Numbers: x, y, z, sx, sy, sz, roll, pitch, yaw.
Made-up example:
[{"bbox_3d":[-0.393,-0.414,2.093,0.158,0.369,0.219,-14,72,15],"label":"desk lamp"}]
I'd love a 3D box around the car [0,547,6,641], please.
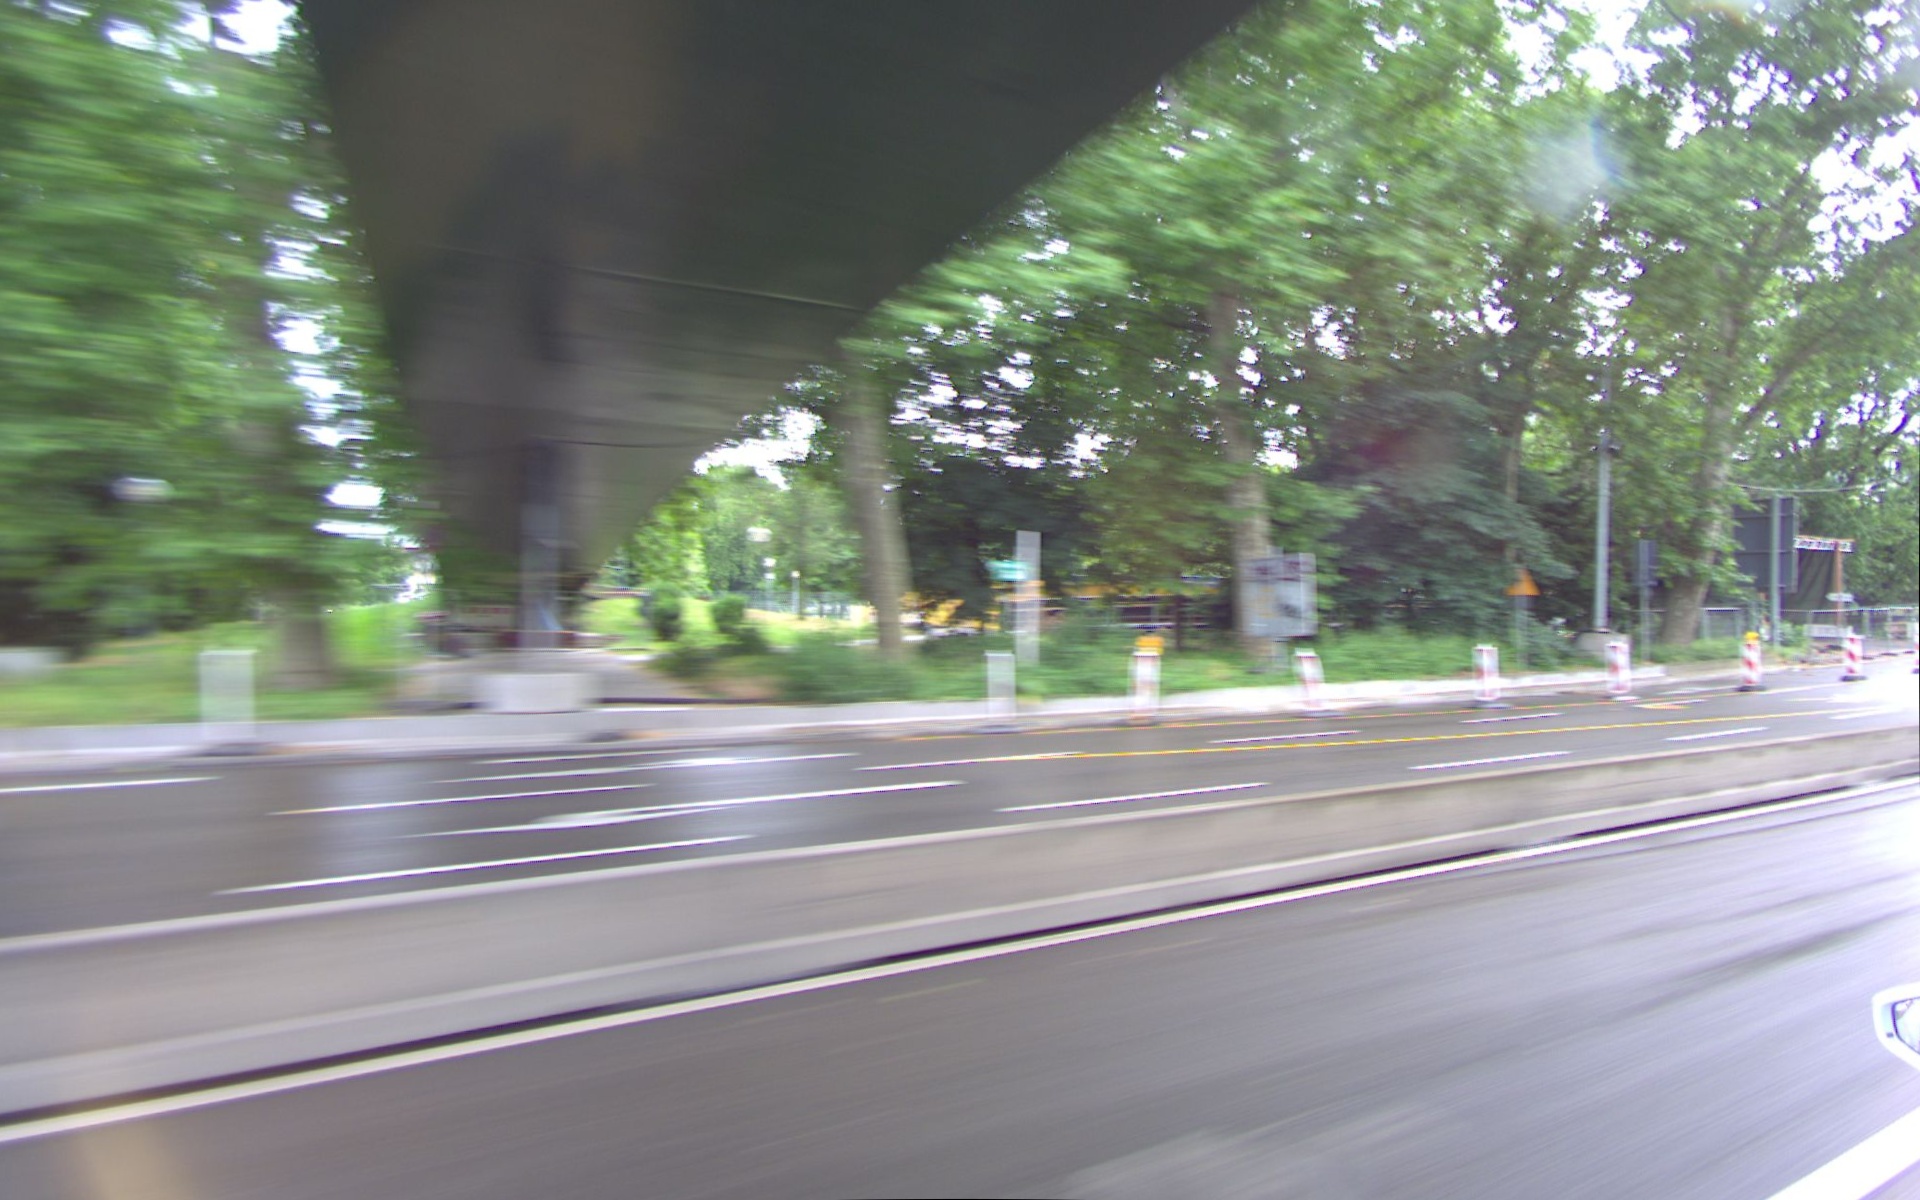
[{"bbox_3d":[-7.055,0.547,3.469,4.982,1.961,2.023,3,-4,-29],"label":"car"}]
